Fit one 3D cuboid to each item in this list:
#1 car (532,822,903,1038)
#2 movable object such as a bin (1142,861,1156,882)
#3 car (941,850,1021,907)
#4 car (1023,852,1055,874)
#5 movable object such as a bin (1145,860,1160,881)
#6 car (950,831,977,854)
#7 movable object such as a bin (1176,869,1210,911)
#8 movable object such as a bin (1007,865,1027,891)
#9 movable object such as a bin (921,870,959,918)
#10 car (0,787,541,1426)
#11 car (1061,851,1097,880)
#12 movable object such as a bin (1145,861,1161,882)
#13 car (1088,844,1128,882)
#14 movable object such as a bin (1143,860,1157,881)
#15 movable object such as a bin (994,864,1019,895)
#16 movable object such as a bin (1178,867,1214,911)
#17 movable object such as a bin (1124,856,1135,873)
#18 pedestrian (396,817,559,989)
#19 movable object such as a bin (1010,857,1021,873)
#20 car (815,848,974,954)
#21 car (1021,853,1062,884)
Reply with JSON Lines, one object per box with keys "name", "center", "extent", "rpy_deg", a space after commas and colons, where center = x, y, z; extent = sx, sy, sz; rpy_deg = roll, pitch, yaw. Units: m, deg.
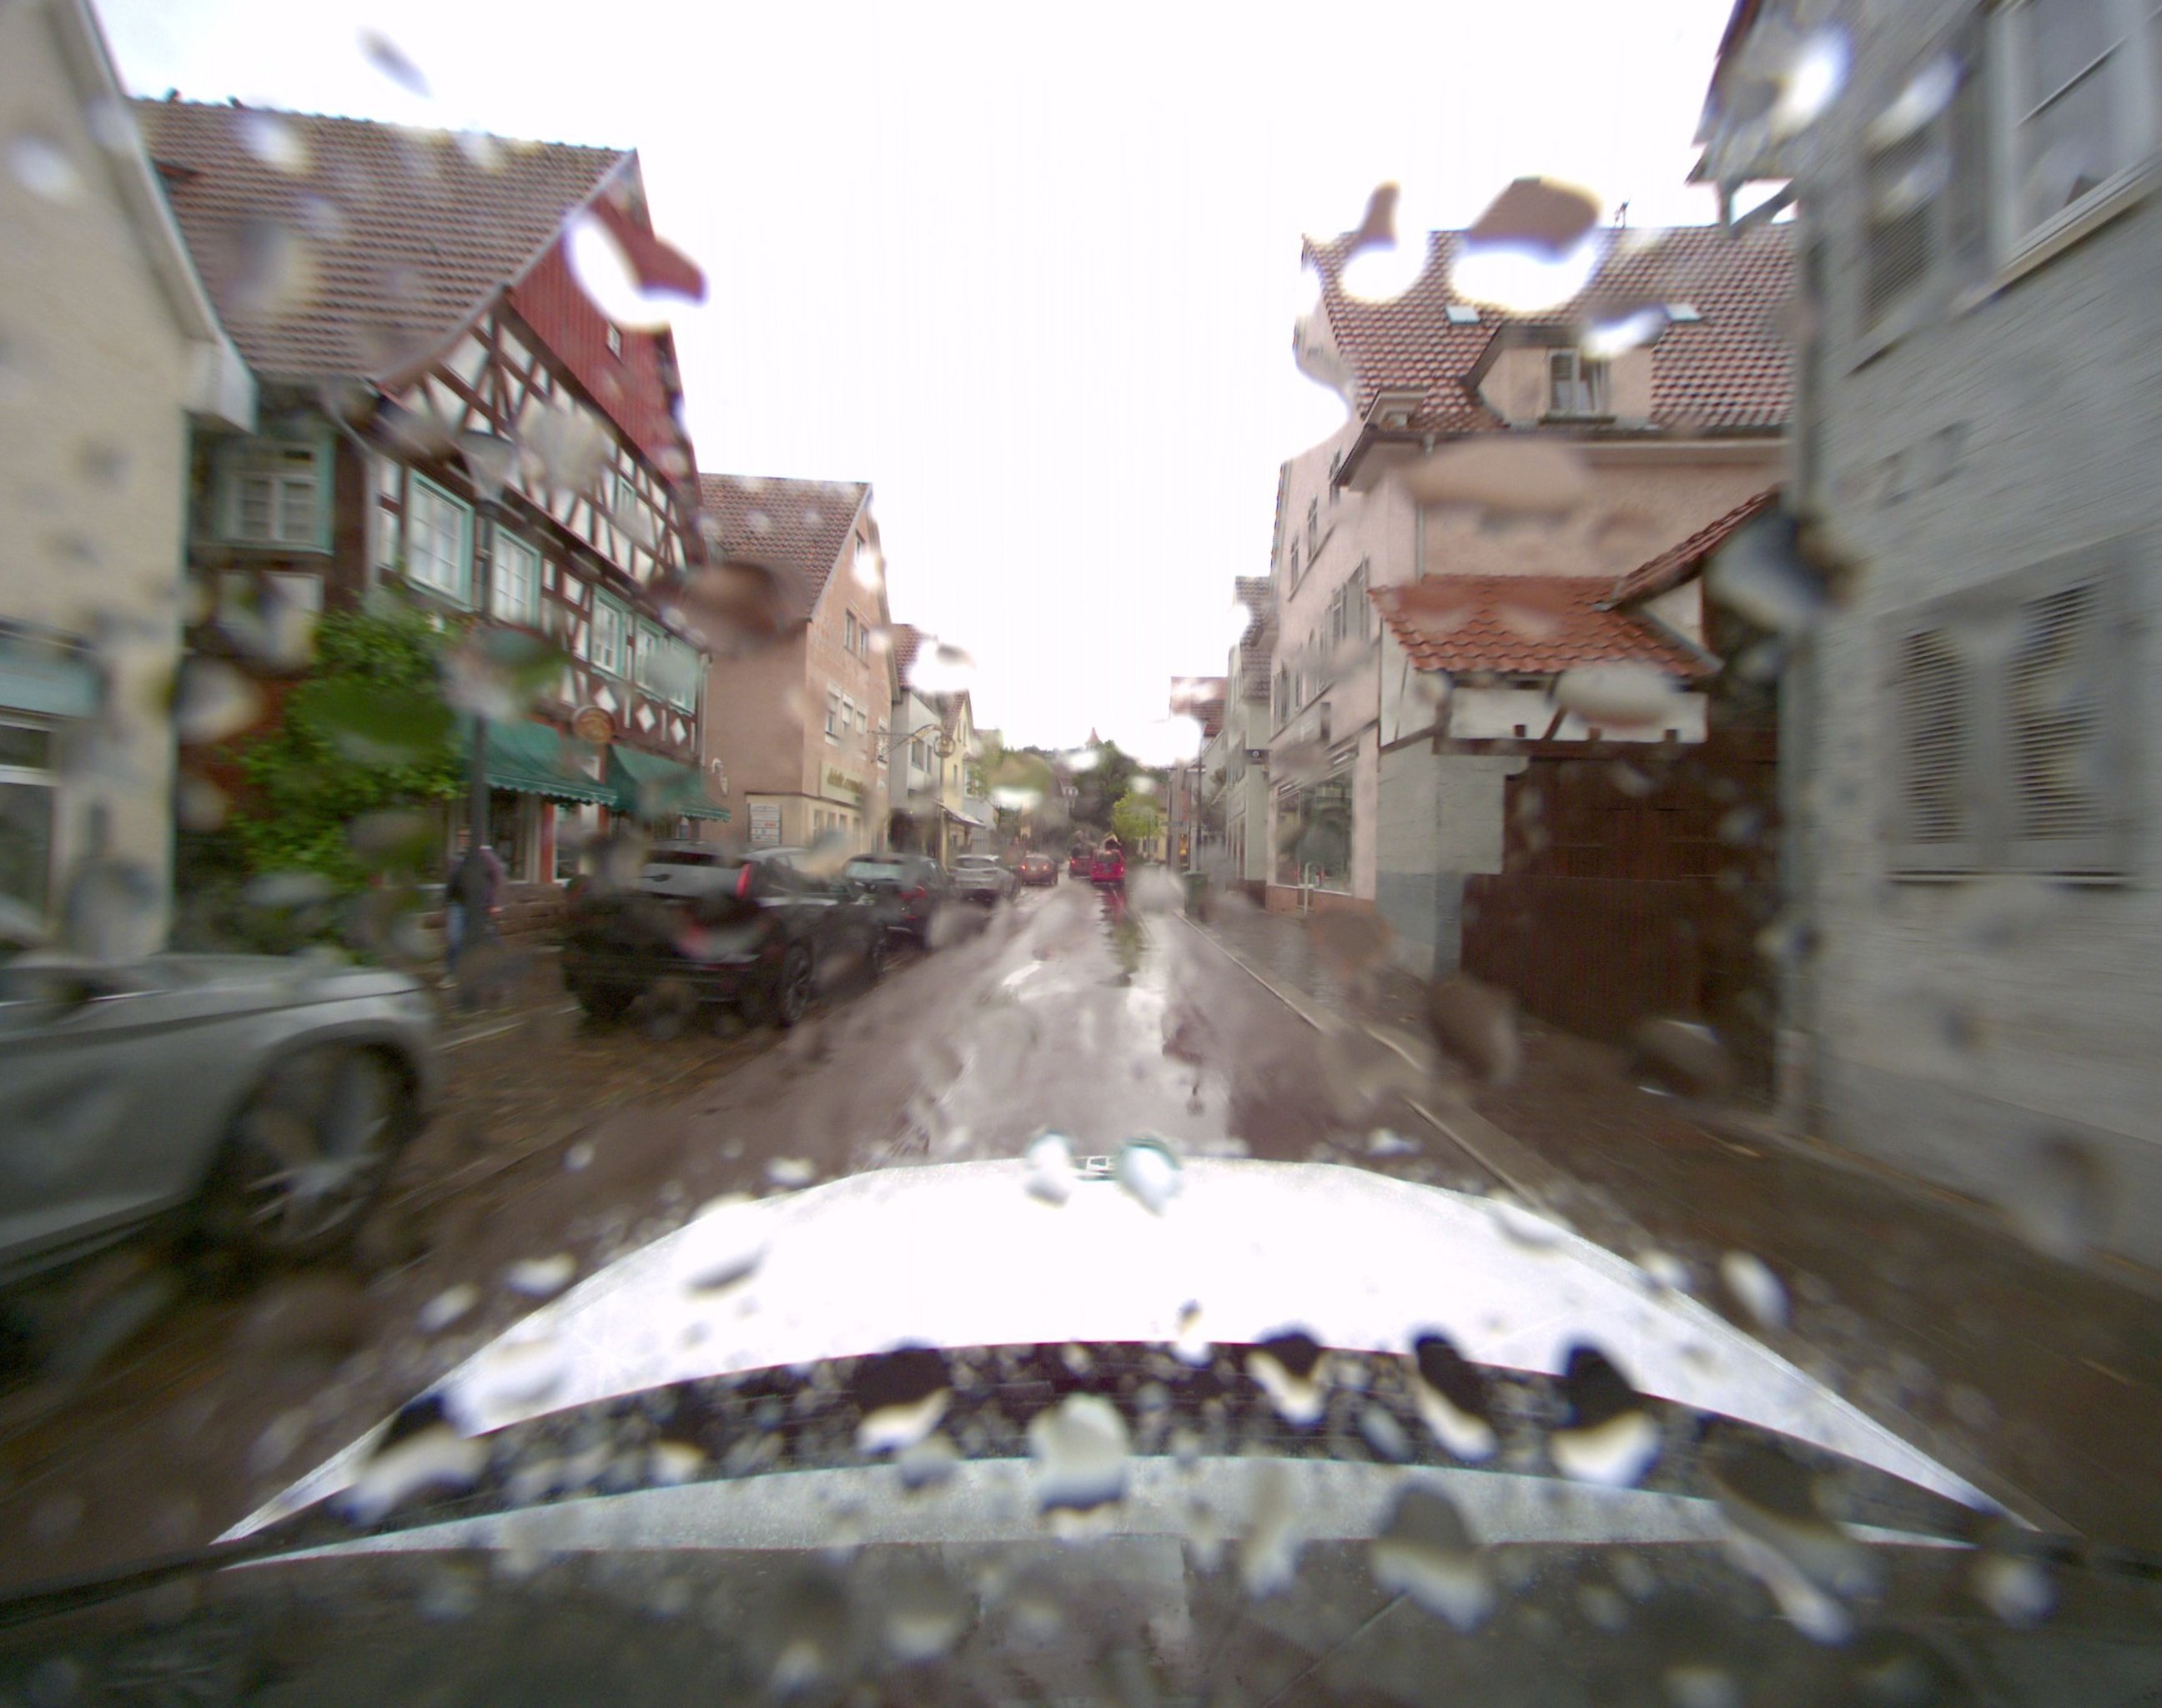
{"name": "car", "center": [-3.415, 0.627, 8.838], "extent": [1.818, 1.666, 4.642], "rpy_deg": [2, 0, 1]}
{"name": "movable object such as a bin", "center": [3.757, 0.966, 44.822], "extent": [0.733, 1.098, 0.611], "rpy_deg": [2, -2, 1]}
{"name": "car", "center": [-3.029, 0.695, 25.424], "extent": [1.684, 1.538, 4.125], "rpy_deg": [2, 1, 4]}
{"name": "car", "center": [-3.252, 0.680, 62.374], "extent": [1.789, 1.495, 3.985], "rpy_deg": [2, 0, -11]}
{"name": "movable object such as a bin", "center": [3.763, 0.866, 42.993], "extent": [0.751, 1.064, 0.600], "rpy_deg": [2, -2, 2]}
{"name": "car", "center": [-15.240, -1.458, 105.620], "extent": [2.305, 2.602, 6.916], "rpy_deg": [2, -2, -18]}
{"name": "movable object such as a bin", "center": [2.919, 0.928, 21.273], "extent": [0.794, 1.081, 0.582], "rpy_deg": [1, -1, -1]}
{"name": "movable object such as a bin", "center": [-2.598, 0.981, 33.169], "extent": [0.706, 1.052, 0.704], "rpy_deg": [2, -2, 3]}
{"name": "movable object such as a bin", "center": [-3.265, 0.920, 18.920], "extent": [0.767, 1.082, 0.675], "rpy_deg": [1, -2, -3]}
{"name": "car", "center": [-3.718, 0.630, 1.753], "extent": [1.817, 1.666, 4.645], "rpy_deg": [2, 0, 2]}
{"name": "car", "center": [-0.164, 0.772, 53.425], "extent": [1.991, 1.799, 3.992], "rpy_deg": [2, -1, -5]}
{"name": "movable object such as a bin", "center": [3.741, 0.914, 42.378], "extent": [0.765, 1.079, 0.599], "rpy_deg": [2, -2, 2]}
{"name": "car", "center": [1.437, 0.431, 42.253], "extent": [1.886, 1.811, 4.004], "rpy_deg": [3, 1, 3]}
{"name": "movable object such as a bin", "center": [3.741, 0.883, 44.203], "extent": [0.733, 1.098, 0.611], "rpy_deg": [2, -2, 1]}
{"name": "movable object such as a bin", "center": [-2.792, 0.956, 30.629], "extent": [0.783, 1.084, 0.694], "rpy_deg": [2, 1, 4]}
{"name": "movable object such as a bin", "center": [2.910, 0.880, 20.637], "extent": [0.790, 1.081, 0.614], "rpy_deg": [1, -1, -1]}
{"name": "movable object such as a bin", "center": [3.378, 0.738, 56.943], "extent": [0.630, 1.150, 0.578], "rpy_deg": [2, -2, -6]}
{"name": "pedestrian", "center": [-6.347, 0.497, 8.651], "extent": [0.786, 1.682, 1.175], "rpy_deg": [2, -2, -3]}
{"name": "movable object such as a bin", "center": [-4.666, 0.819, 58.044], "extent": [0.725, 1.110, 0.595], "rpy_deg": [2, -2, -6]}
{"name": "car", "center": [-3.163, 0.709, 14.731], "extent": [1.774, 1.538, 4.290], "rpy_deg": [3, 1, 1]}
{"name": "car", "center": [-2.007, 0.719, 41.911], "extent": [1.685, 1.443, 3.887], "rpy_deg": [2, 1, 3]}
